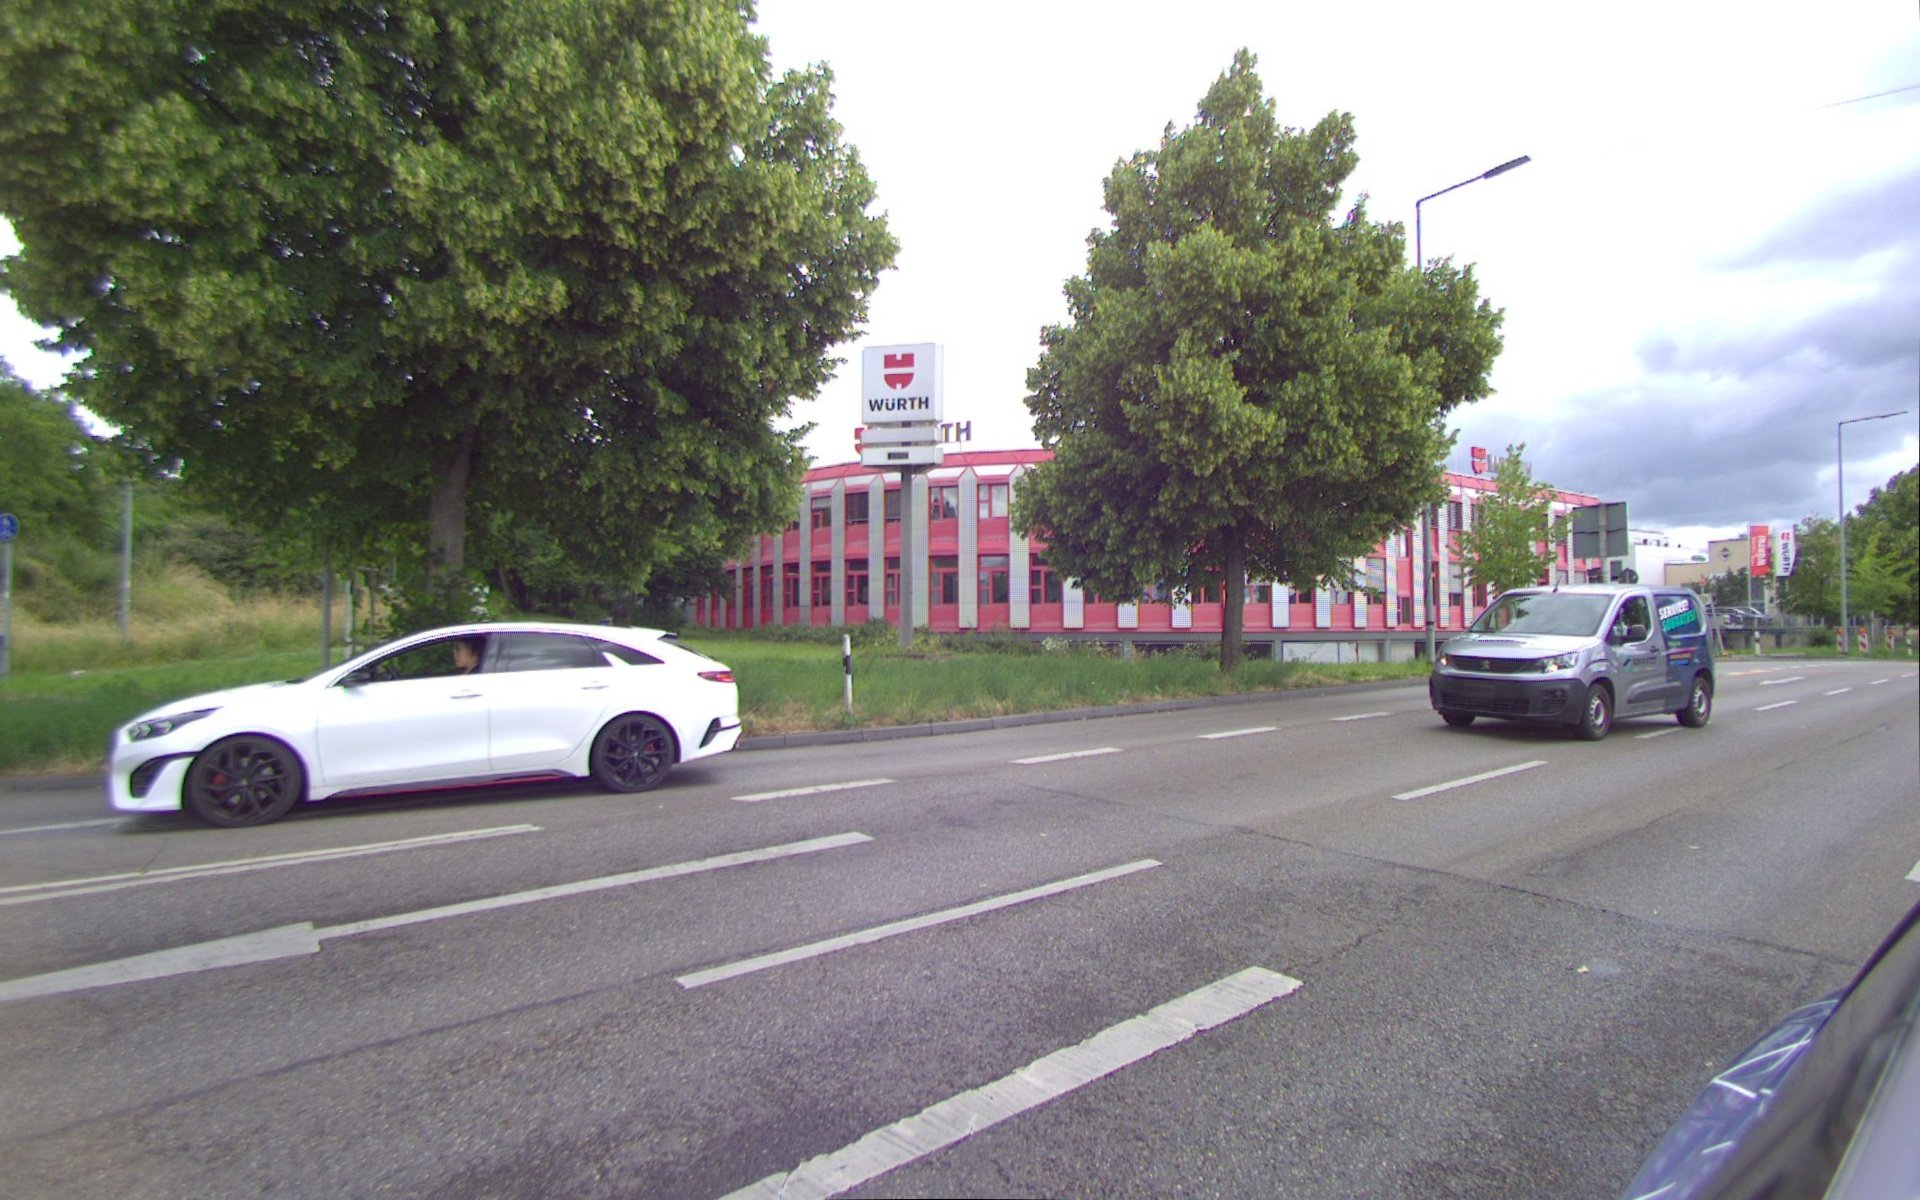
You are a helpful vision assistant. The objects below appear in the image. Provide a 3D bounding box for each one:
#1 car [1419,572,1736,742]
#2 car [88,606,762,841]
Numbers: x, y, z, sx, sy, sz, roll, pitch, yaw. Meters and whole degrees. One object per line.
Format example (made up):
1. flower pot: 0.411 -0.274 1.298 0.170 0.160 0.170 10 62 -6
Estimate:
1. car: 7.773 0.597 12.632 4.141 1.802 1.815 0 0 -34
2. car: -4.065 0.824 8.347 4.422 1.438 1.837 -1 -2 -28
